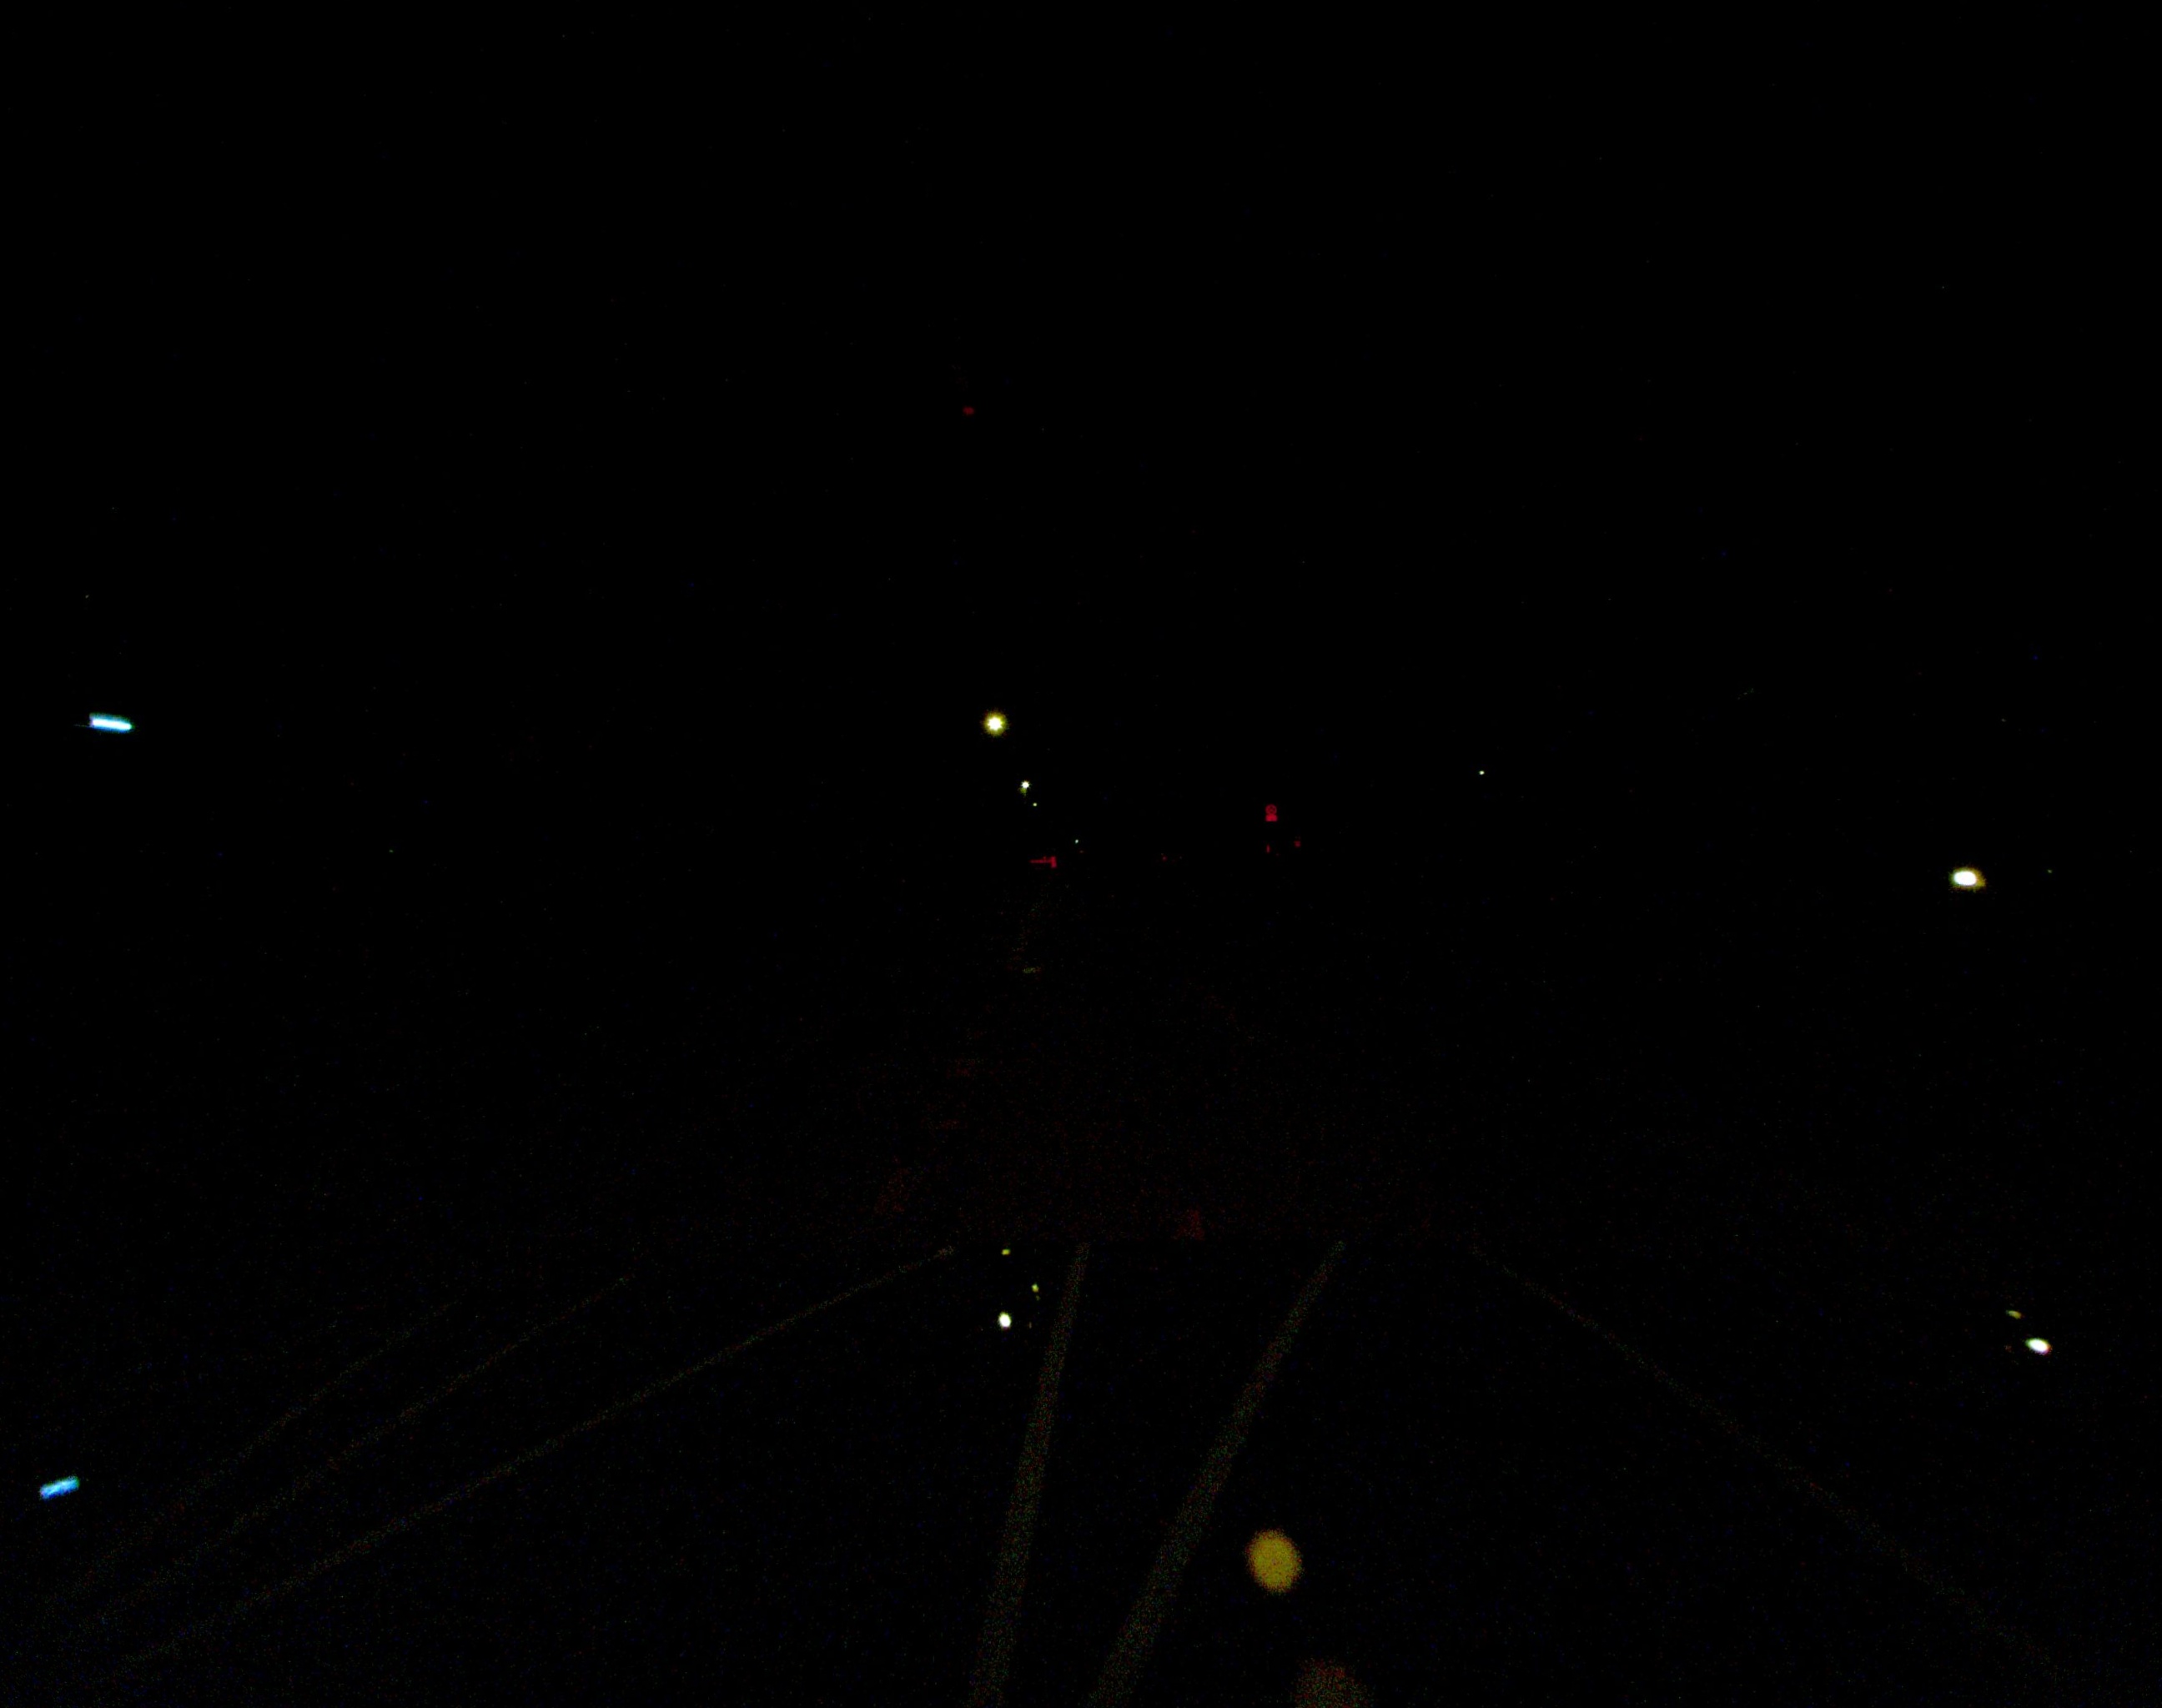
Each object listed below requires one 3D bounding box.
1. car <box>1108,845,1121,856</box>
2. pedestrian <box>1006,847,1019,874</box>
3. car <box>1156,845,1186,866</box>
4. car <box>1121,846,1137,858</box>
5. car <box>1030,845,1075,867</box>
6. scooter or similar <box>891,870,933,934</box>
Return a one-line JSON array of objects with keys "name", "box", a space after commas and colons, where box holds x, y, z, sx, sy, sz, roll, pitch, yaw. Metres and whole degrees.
[{"name": "car", "box": [5.197, -0.551, 118.876, 1.911, 1.445, 3.999, -3, 2, 1]}, {"name": "pedestrian", "box": [-4.805, 0.466, 53.320, 0.824, 1.809, 0.608, -3, 2, 1]}, {"name": "car", "box": [7.212, 0.069, 61.023, 1.911, 1.445, 3.999, -3, 2, 1]}, {"name": "car", "box": [6.306, -0.258, 100.282, 1.911, 1.445, 3.999, -3, 2, 1]}, {"name": "car", "box": [-2.603, 0.192, 70.543, 3.997, 1.821, 1.912, -3, 2, 0]}, {"name": "scooter or similar", "box": [-3.605, 0.999, 16.317, 0.570, 1.271, 1.391, 0, 0, 0]}]
